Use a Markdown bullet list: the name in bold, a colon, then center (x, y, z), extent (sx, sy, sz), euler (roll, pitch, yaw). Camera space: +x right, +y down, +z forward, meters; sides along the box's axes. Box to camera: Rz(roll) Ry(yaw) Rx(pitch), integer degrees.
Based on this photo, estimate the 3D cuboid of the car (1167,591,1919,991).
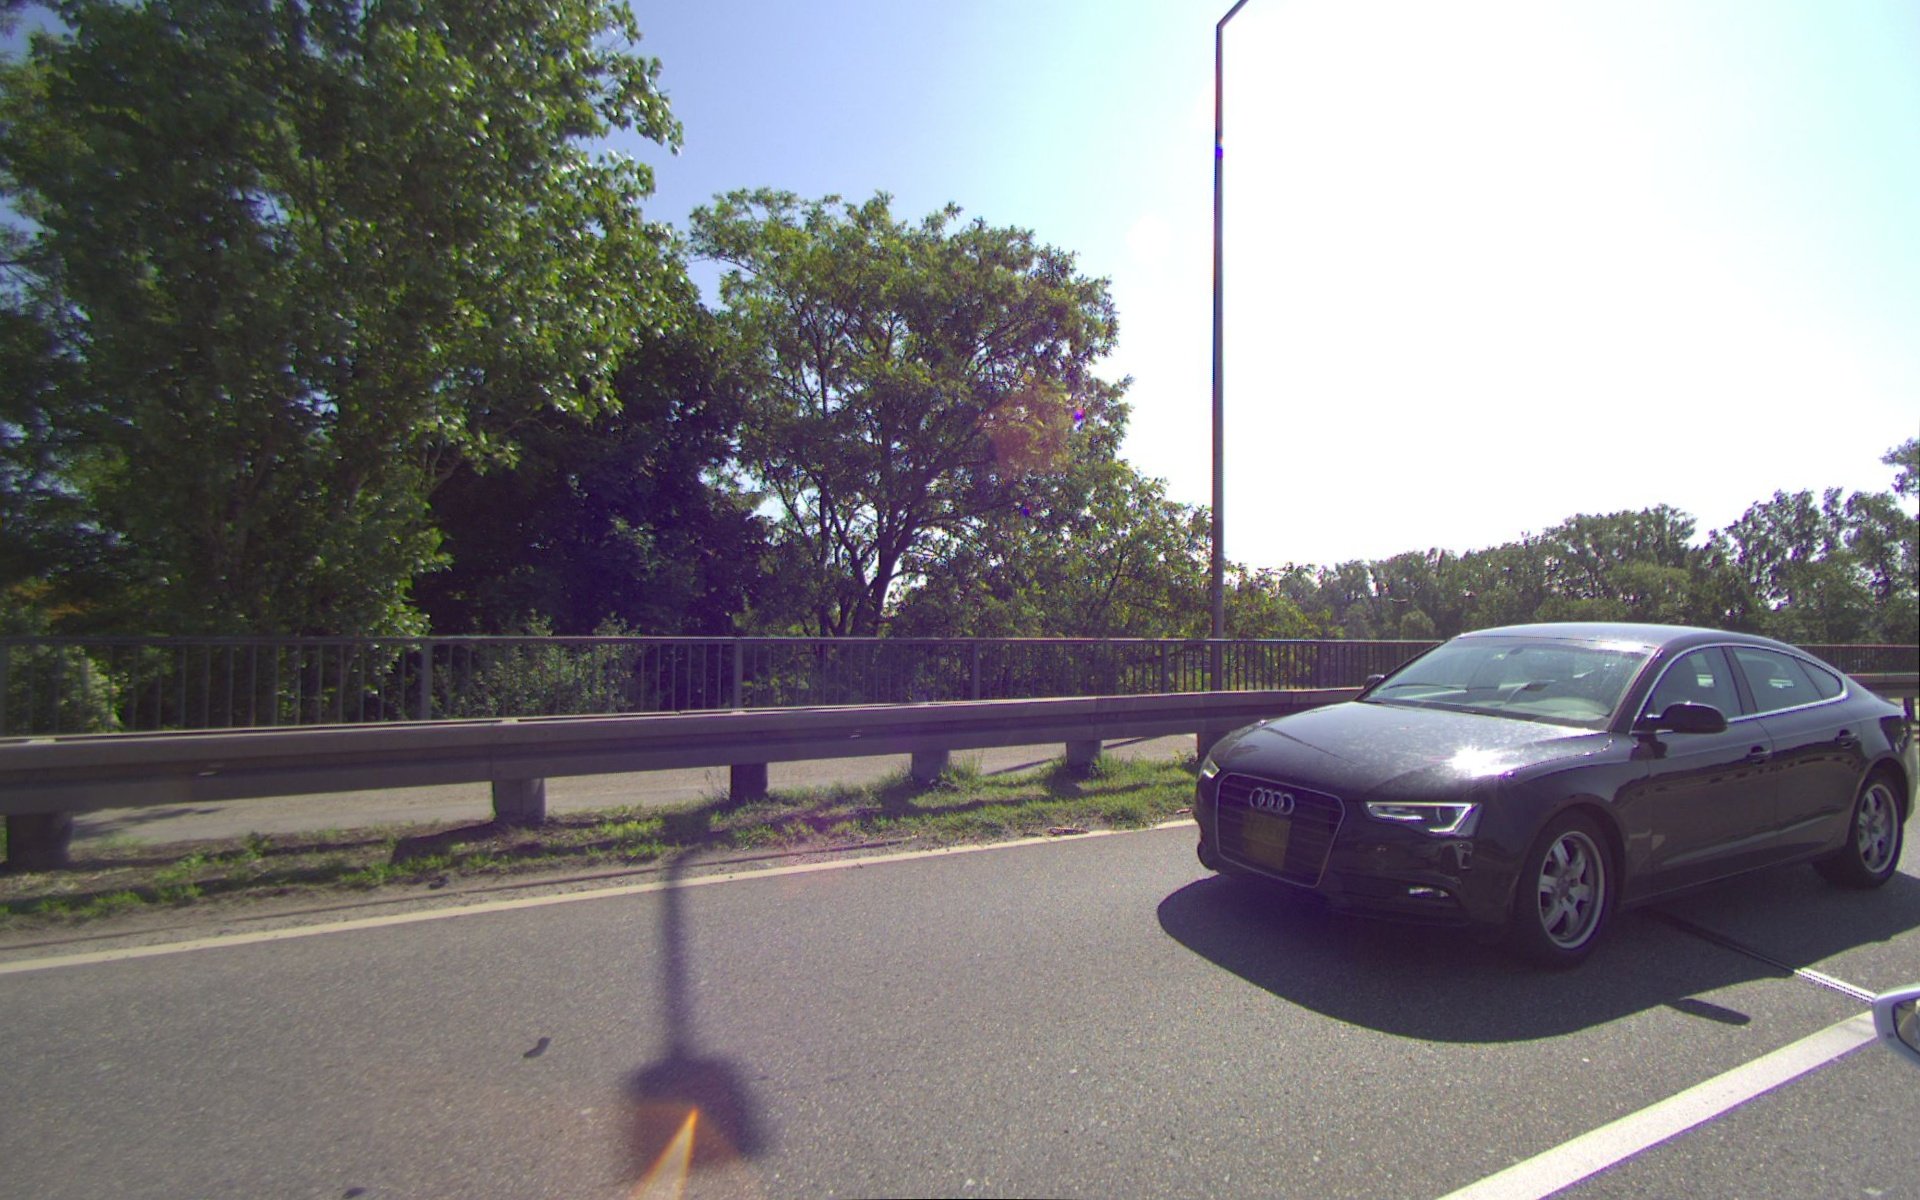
- **car**: center (3.367, 0.755, 5.473), extent (4.244, 1.476, 1.732), euler (2, 0, -28)
